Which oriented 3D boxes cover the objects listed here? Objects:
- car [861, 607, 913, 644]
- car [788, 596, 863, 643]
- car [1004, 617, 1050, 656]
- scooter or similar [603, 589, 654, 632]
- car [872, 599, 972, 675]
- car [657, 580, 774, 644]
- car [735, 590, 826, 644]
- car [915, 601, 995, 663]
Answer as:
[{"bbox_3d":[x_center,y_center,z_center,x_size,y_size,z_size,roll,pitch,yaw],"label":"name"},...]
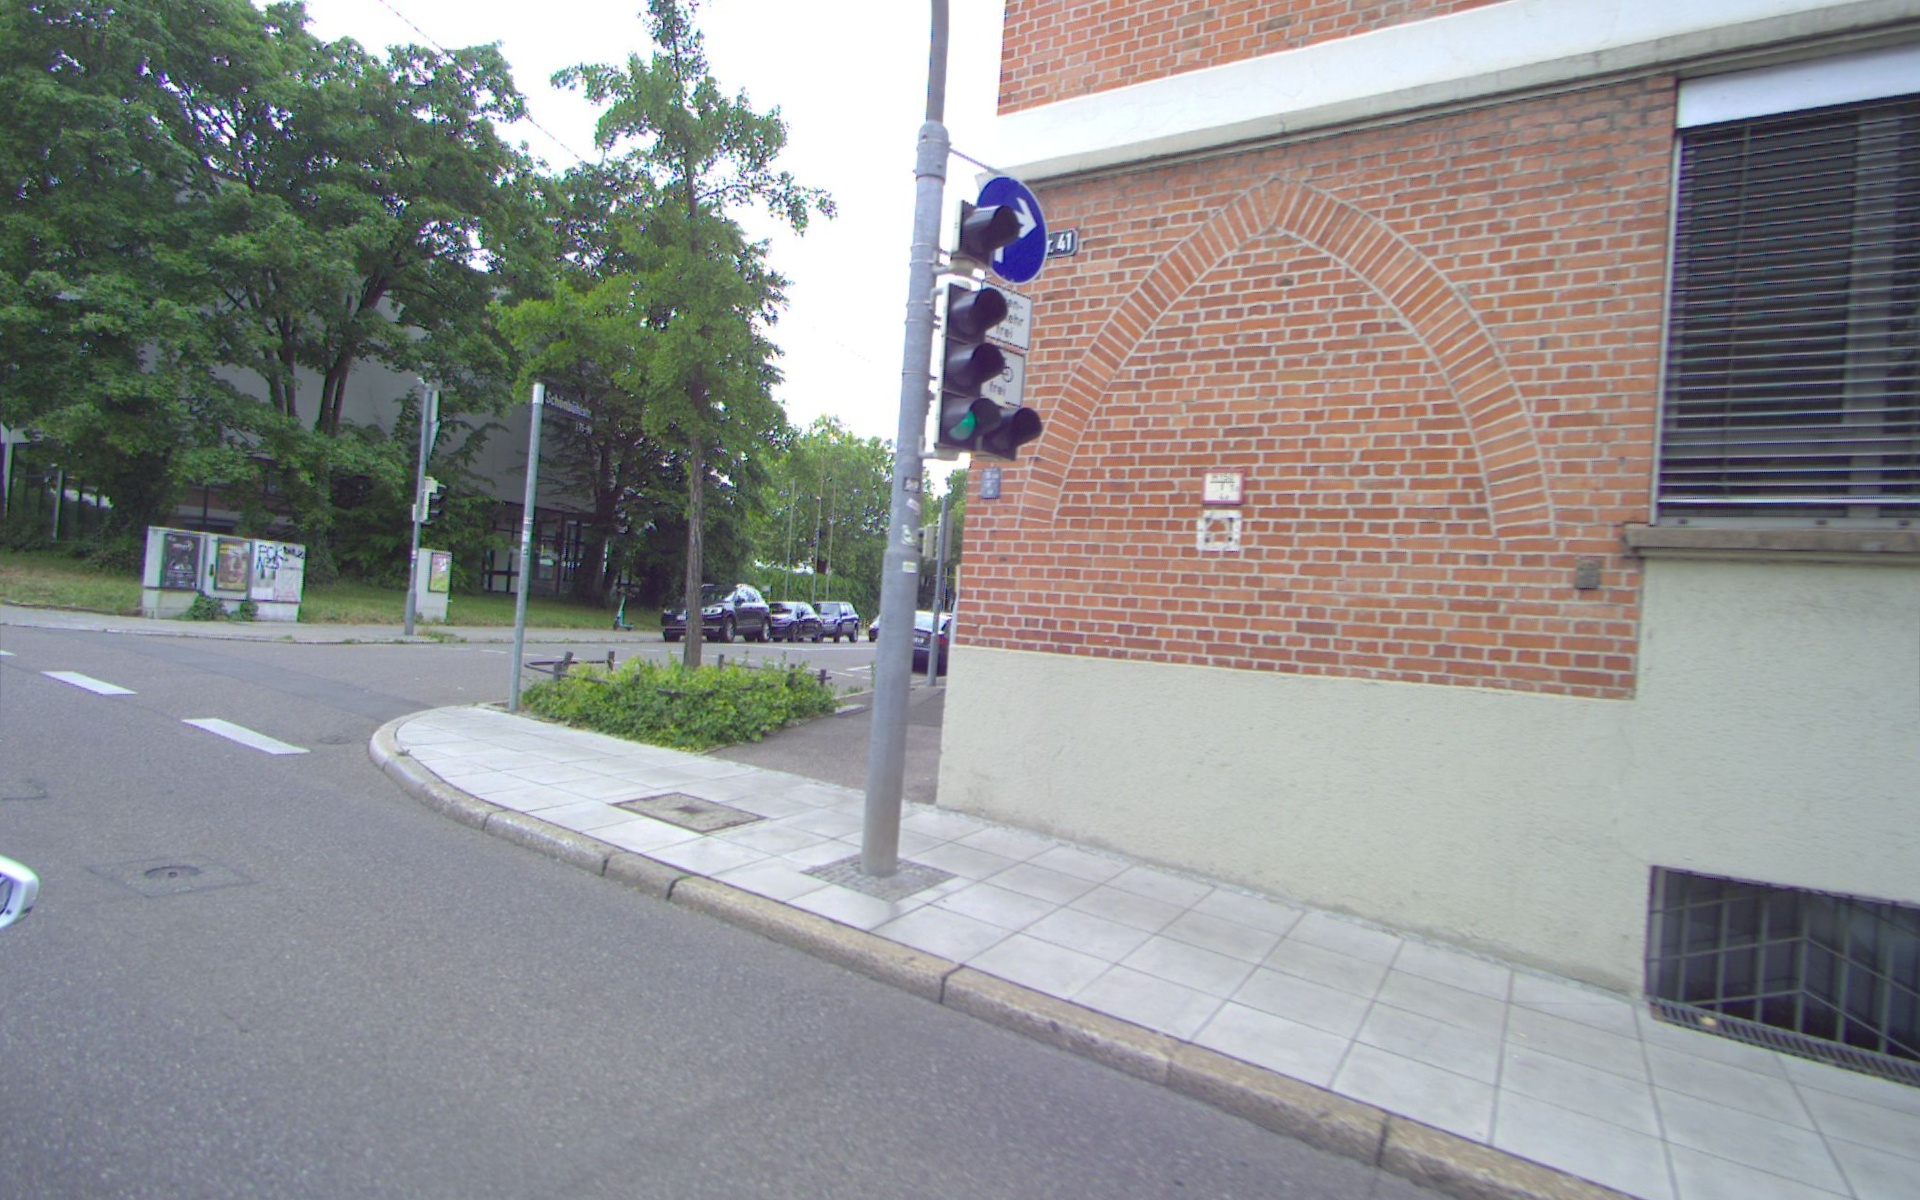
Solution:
[{"bbox_3d":[-3.629,1.323,50.757,1.742,1.623,4.005,3,-2,8],"label":"car"},{"bbox_3d":[-5.309,0.833,40.161,1.910,1.623,4.005,3,-2,8],"label":"car"},{"bbox_3d":[3.193,1.717,46.984,1.716,1.535,4.005,7,-2,8],"label":"car"},{"bbox_3d":[-10.405,0.342,31.636,0.521,1.191,1.770,7,-1,15],"label":"scooter or similar"},{"bbox_3d":[-0.866,0.955,25.400,1.716,1.535,4.005,7,-2,8],"label":"car"},{"bbox_3d":[-7.064,0.415,29.503,1.910,1.623,4.092,3,-2,8],"label":"car"},{"bbox_3d":[-6.187,0.644,35.087,1.910,1.623,4.005,3,-2,8],"label":"car"},{"bbox_3d":[-0.079,1.002,30.642,1.716,1.535,4.005,7,-2,8],"label":"car"}]
